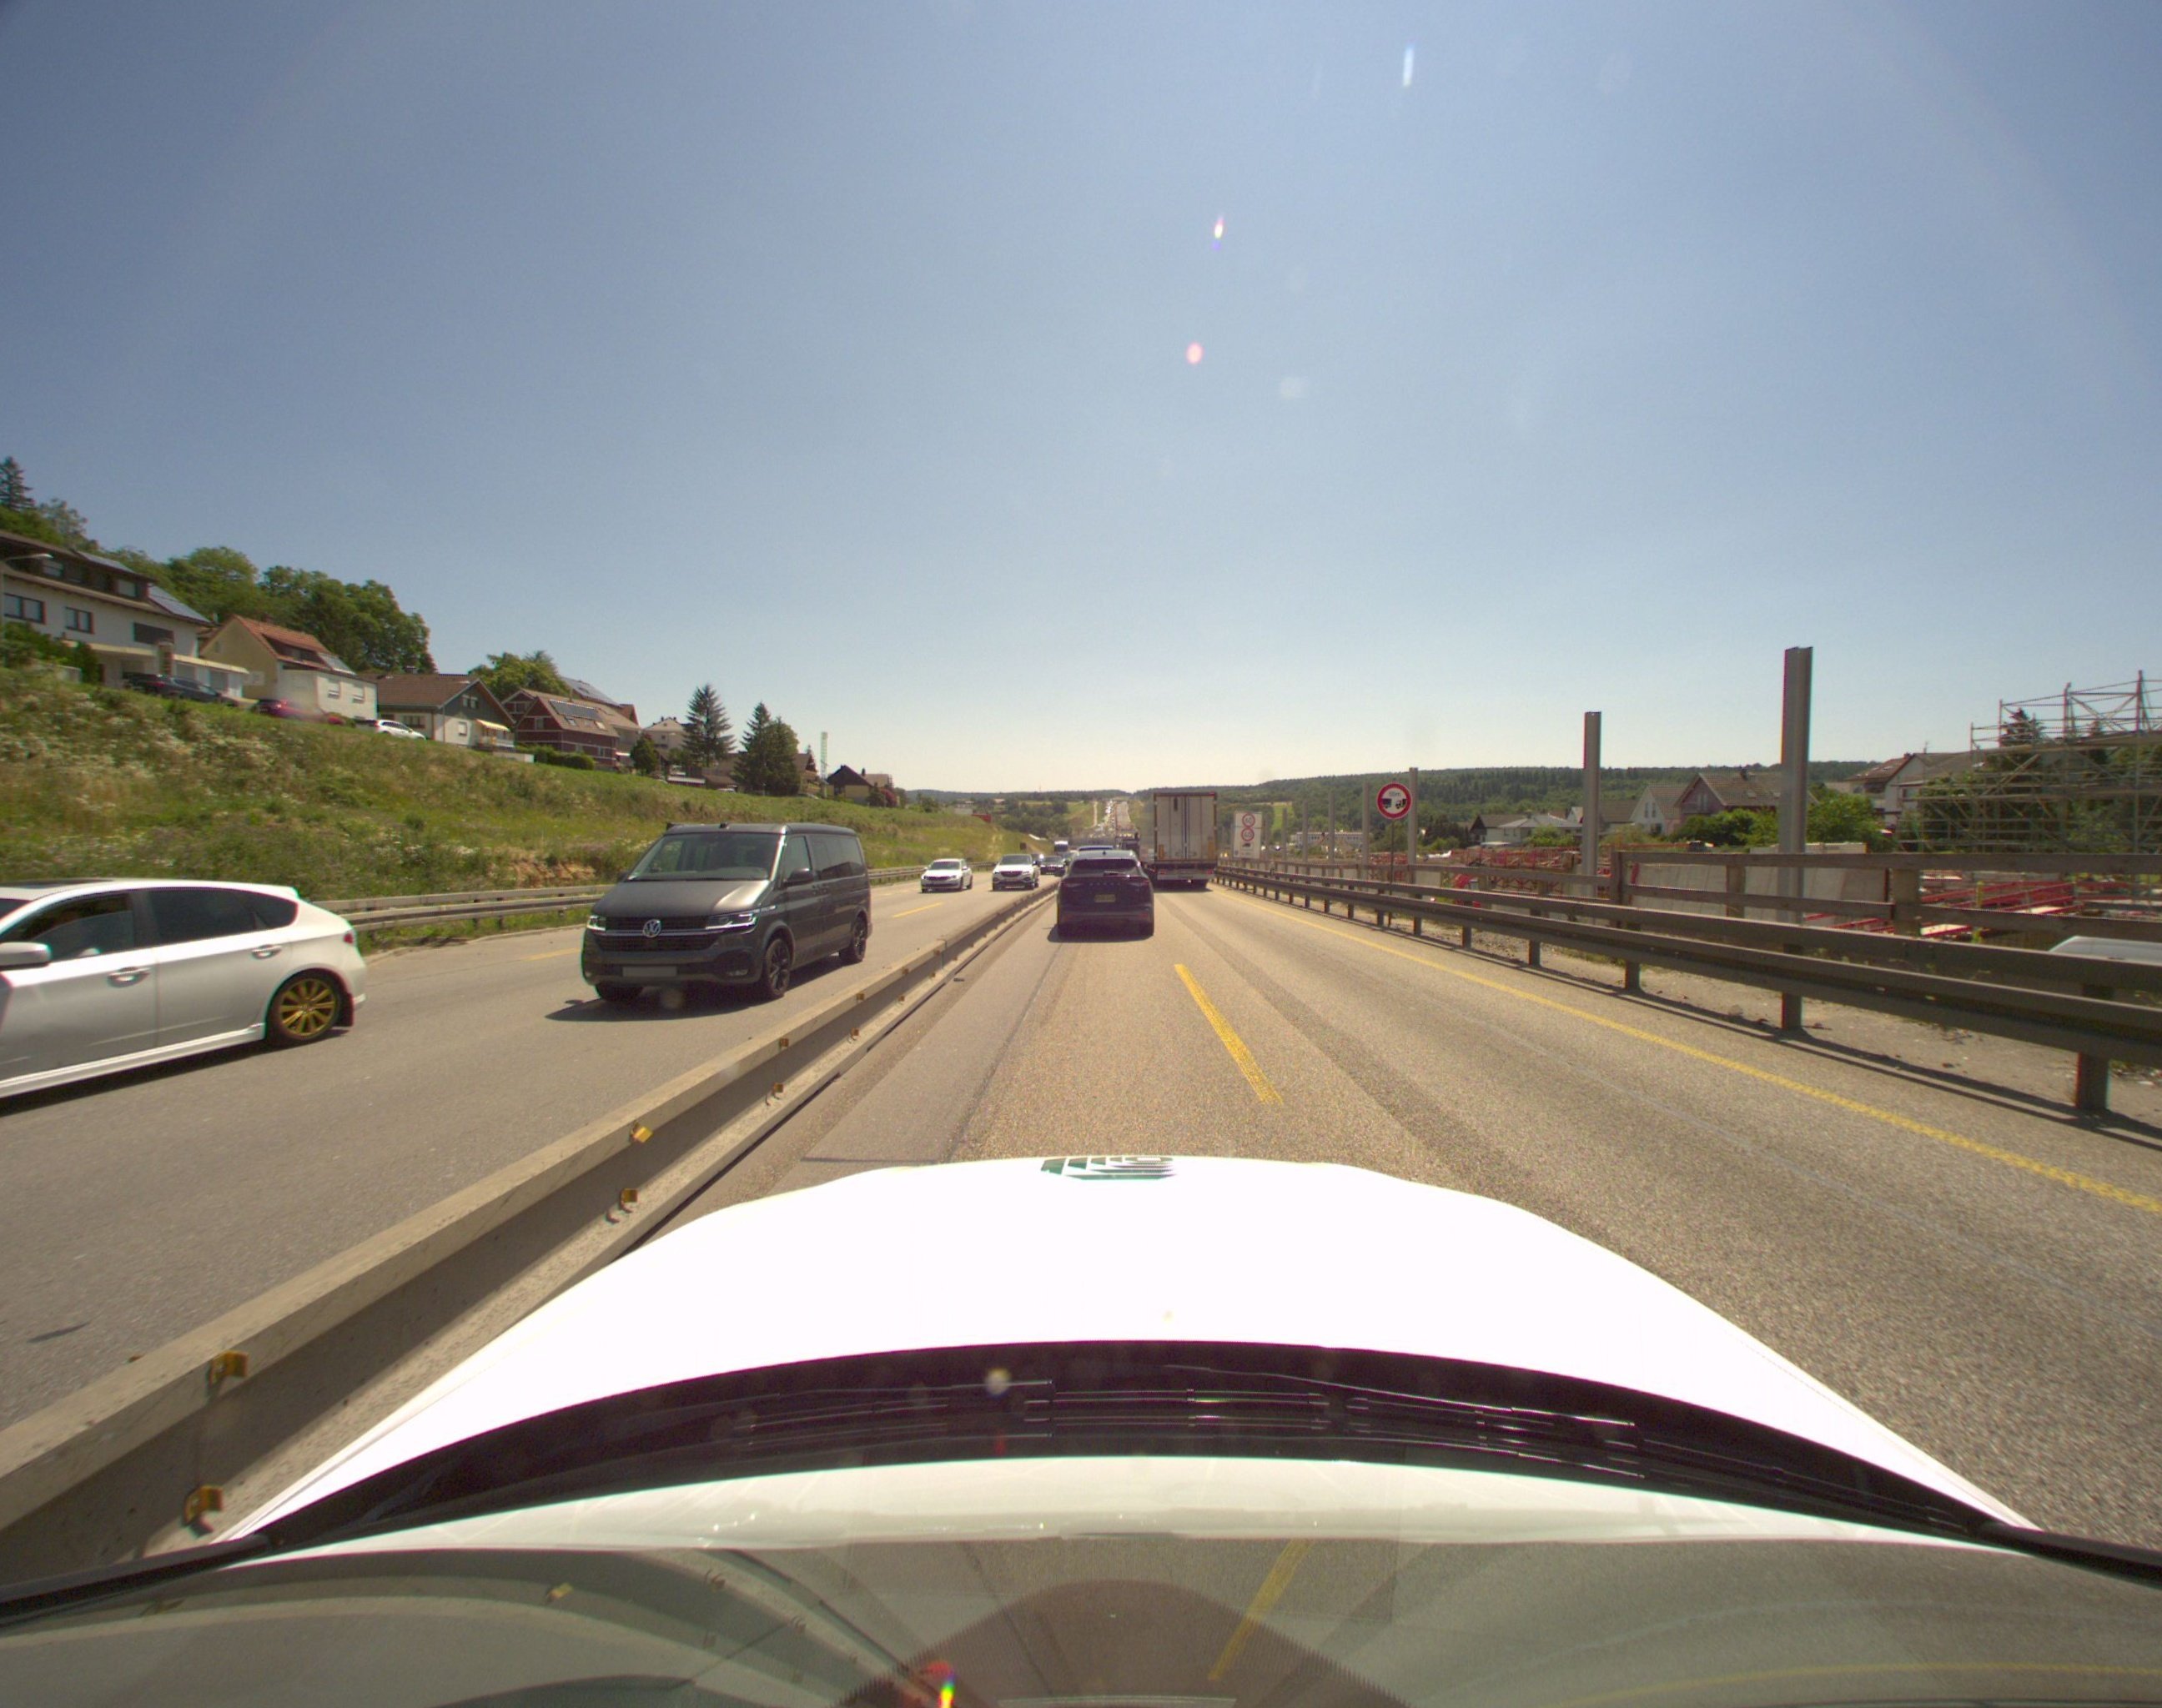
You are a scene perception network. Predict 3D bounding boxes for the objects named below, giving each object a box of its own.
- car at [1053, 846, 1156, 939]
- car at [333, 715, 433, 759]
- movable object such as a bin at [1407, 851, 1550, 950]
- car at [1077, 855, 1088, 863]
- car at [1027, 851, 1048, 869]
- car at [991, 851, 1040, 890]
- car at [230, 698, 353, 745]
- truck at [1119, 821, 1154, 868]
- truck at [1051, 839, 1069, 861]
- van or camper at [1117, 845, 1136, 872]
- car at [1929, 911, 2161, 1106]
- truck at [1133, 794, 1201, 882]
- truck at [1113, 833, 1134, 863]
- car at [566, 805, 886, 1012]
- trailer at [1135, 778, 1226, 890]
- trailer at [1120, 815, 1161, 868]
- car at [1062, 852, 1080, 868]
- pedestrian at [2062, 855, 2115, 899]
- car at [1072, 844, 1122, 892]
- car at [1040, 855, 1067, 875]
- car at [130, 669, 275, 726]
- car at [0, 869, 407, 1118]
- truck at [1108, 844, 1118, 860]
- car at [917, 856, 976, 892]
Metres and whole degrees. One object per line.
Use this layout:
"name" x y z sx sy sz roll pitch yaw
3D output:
"car" 0.490 0.688 16.305 1.795 1.607 4.002 -1 -1 2
"car" -44.889 -7.482 52.539 2.341 2.041 4.815 -1 -1 -1
"movable object such as a bin" 21.182 2.329 44.271 3.215 4.743 9.657 -1 -1 1
"car" 0.375 1.004 156.239 1.887 1.414 4.681 -1 0 2
"car" -4.640 0.648 87.059 1.821 1.766 4.498 -2 0 1
"car" -2.913 0.700 37.086 1.800 1.640 4.172 -1 0 1
"car" -44.637 -7.450 46.245 2.341 1.794 4.798 -1 -1 -2
"truck" 5.665 -0.853 84.496 3.169 4.513 8.167 -1 -1 2
"truck" -3.598 -0.694 141.000 2.769 3.672 6.278 -1 0 1
"van or camper" 5.808 0.646 103.562 2.378 3.281 6.474 -1 -1 4
"car" 18.054 2.520 12.995 2.134 2.856 7.032 -1 -1 5
"truck" 4.677 -0.840 46.130 3.169 4.513 8.168 -1 0 2
"truck" 6.614 -0.829 128.526 2.842 4.465 11.918 -1 -1 1
"car" -4.084 0.544 10.464 1.904 2.013 4.906 -1 0 0
"trailer" 4.471 -0.860 39.639 3.168 4.513 13.113 -1 0 2
"trailer" 5.440 -0.965 77.405 3.168 4.513 14.970 -1 -1 2
"car" -1.169 0.707 95.795 1.839 1.777 4.883 -1 0 1
"pedestrian" 46.155 1.045 37.333 1.132 1.987 0.974 -1 -1 5
"car" 0.708 0.623 35.529 1.986 1.926 4.508 -1 -1 1
"car" -2.102 0.835 63.966 1.791 1.466 4.357 -2 0 1
"car" -43.009 -7.600 40.063 2.175 1.794 4.755 -1 -1 -5
"car" -7.321 0.858 5.410 1.803 1.431 4.557 0 0 2
"truck" 9.010 -0.564 231.136 2.630 4.194 9.287 -1 -1 2
"car" -6.043 0.870 37.037 1.798 1.497 4.600 -1 0 1
